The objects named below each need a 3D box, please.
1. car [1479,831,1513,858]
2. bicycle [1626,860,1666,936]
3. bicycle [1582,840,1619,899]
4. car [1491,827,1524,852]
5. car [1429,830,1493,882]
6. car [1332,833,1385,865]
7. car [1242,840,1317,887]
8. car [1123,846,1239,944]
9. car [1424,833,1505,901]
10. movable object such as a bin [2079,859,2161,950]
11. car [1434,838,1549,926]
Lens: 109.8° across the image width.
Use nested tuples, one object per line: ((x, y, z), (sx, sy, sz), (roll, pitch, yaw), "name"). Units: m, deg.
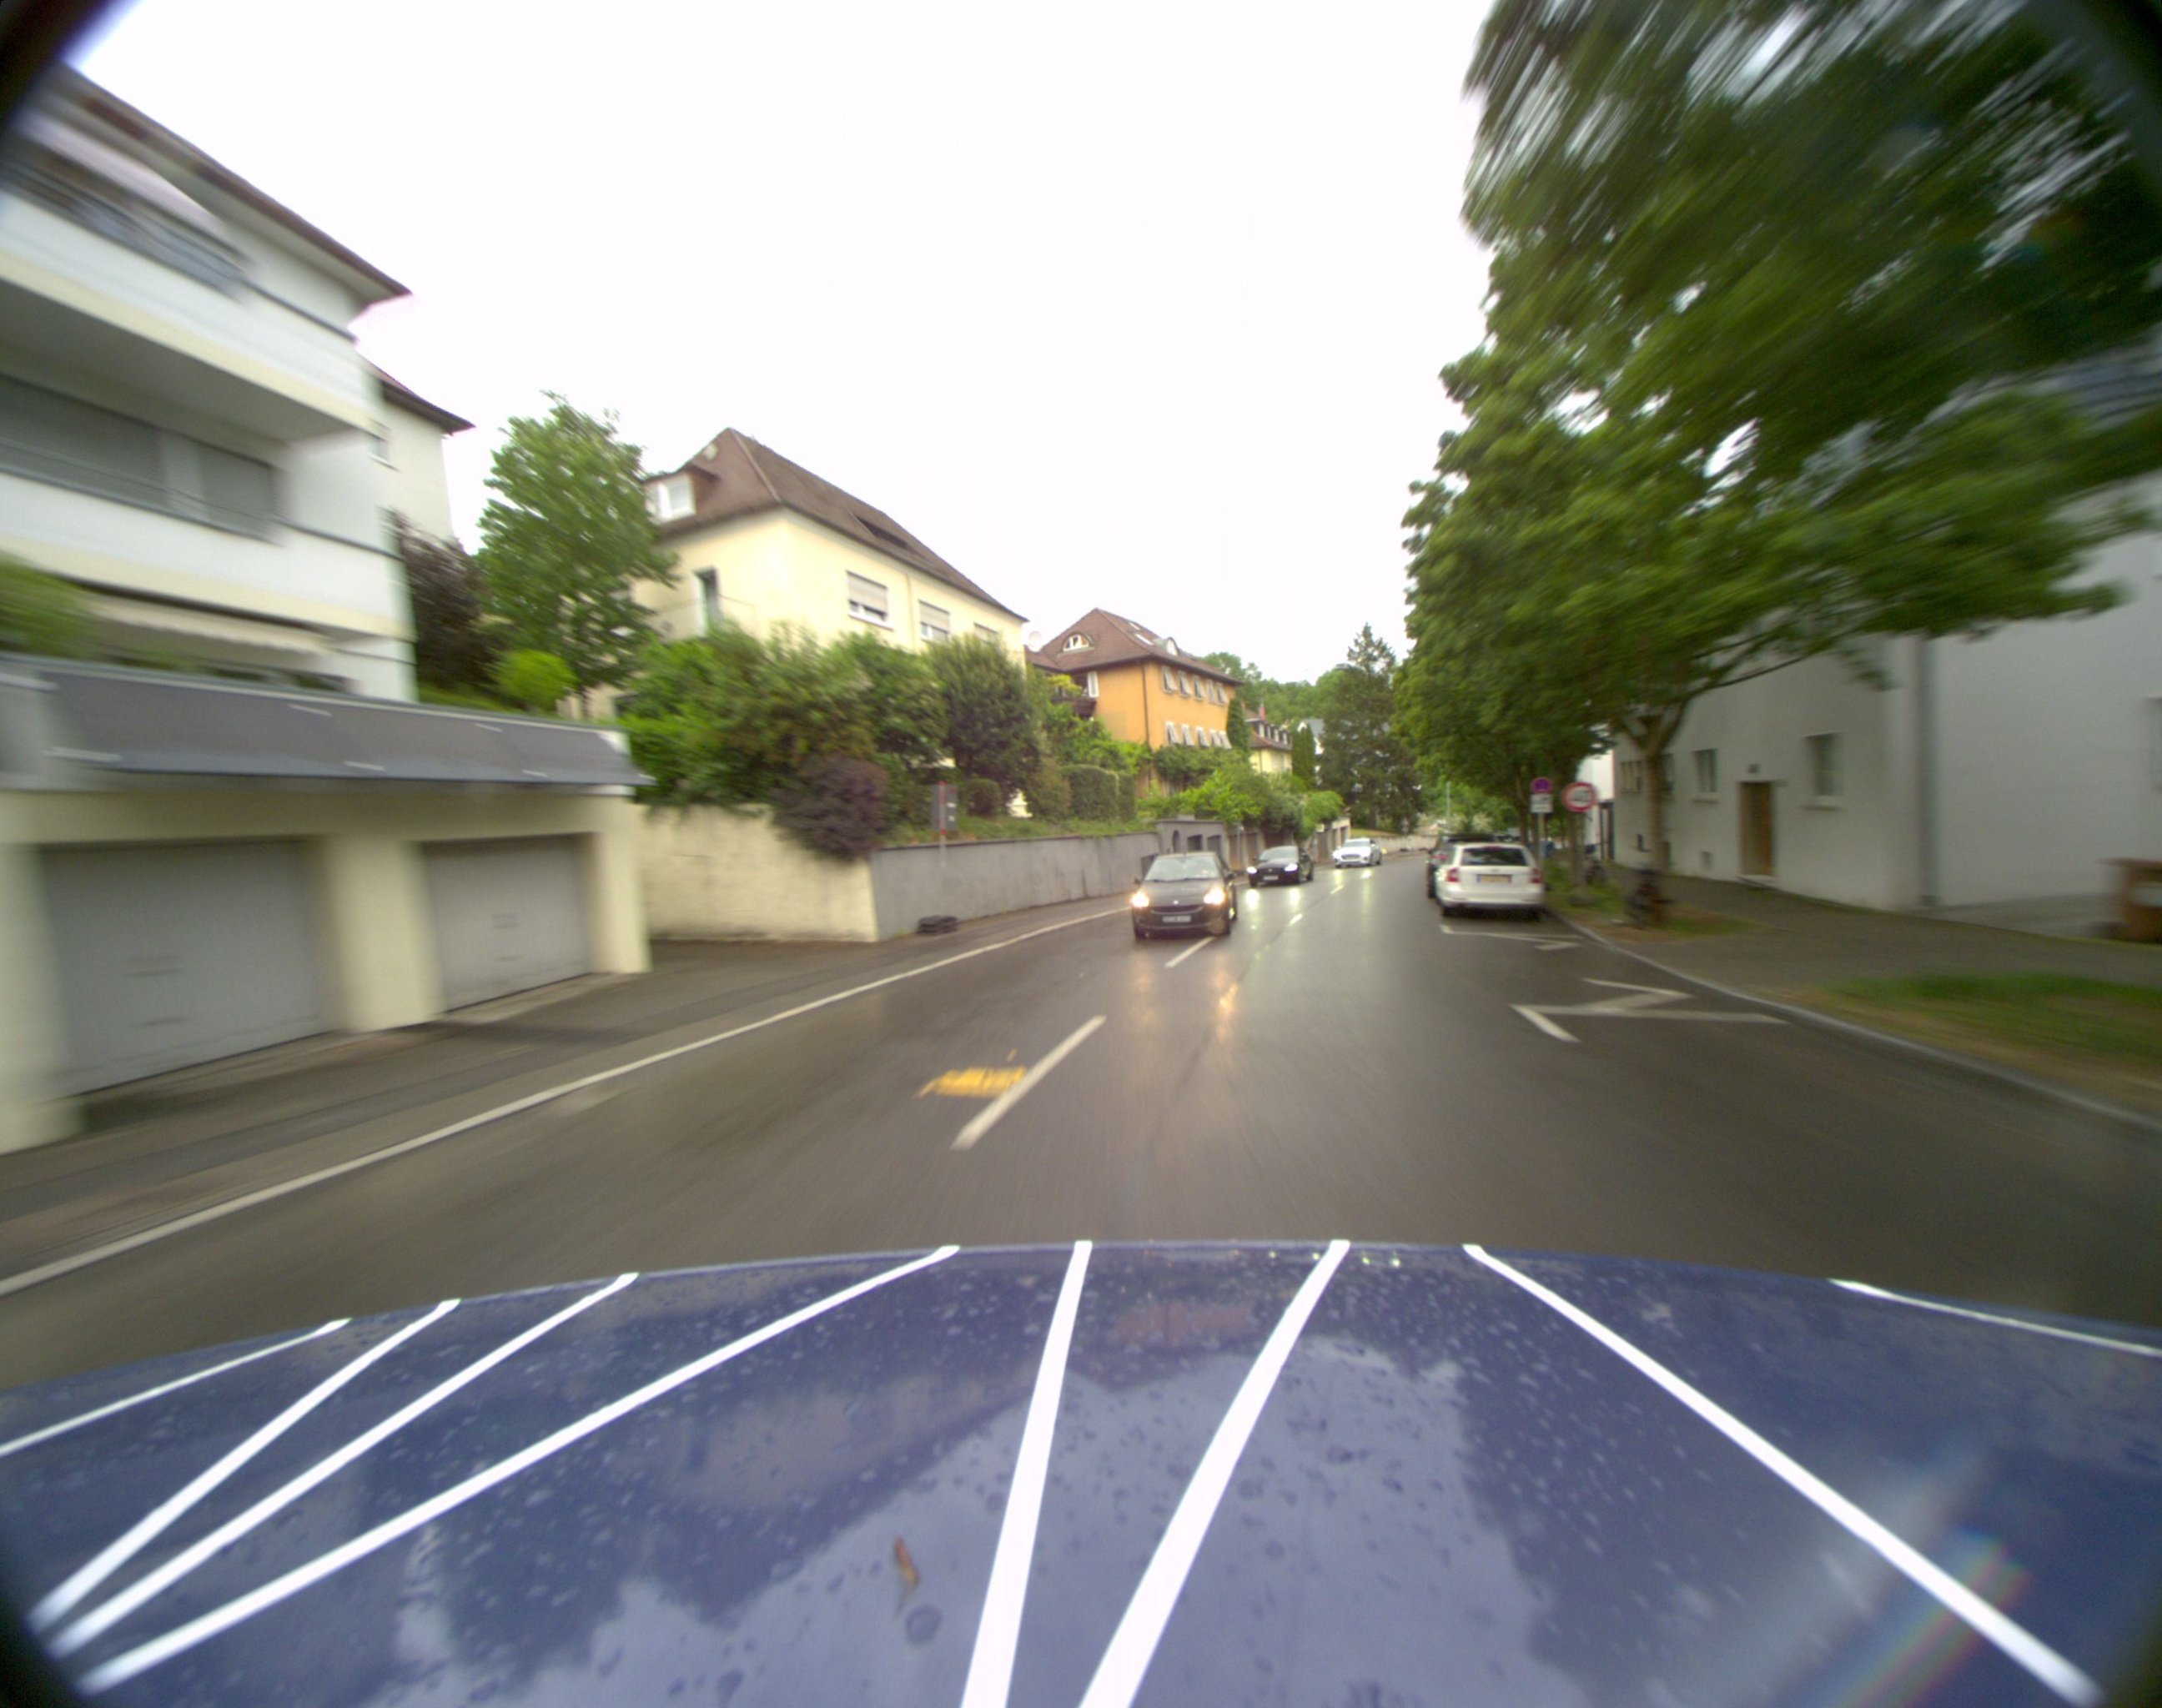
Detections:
((27.815, -0.673, 50.882), (1.618, 1.650, 3.930), (3, 4, 33), "car")
((8.894, 0.658, 11.998), (0.435, 1.024, 1.909), (-2, 1, 35), "bicycle")
((11.851, 0.323, 17.372), (0.619, 1.244, 1.909), (-2, 1, 33), "bicycle")
((31.064, -1.080, 55.295), (1.592, 1.650, 3.930), (4, 5, 35), "car")
((12.959, -0.007, 26.090), (1.634, 1.556, 3.853), (1, 3, 22), "car")
((16.010, -0.316, 43.662), (2.008, 1.652, 4.453), (-1, 2, 31), "car")
((7.552, 0.315, 28.655), (1.805, 1.479, 4.024), (-7, -2, 26), "car")
((1.970, 0.665, 14.086), (1.576, 1.444, 3.590), (-3, 1, 15), "car")
((10.060, 0.258, 20.180), (1.683, 1.599, 4.583), (-1, 1, 24), "car")
((11.667, 0.543, 8.350), (0.656, 0.945, 0.645), (-2, 1, 34), "movable object such as a bin")
((8.247, 0.465, 15.577), (1.683, 1.500, 4.322), (-1, 1, 23), "car")
